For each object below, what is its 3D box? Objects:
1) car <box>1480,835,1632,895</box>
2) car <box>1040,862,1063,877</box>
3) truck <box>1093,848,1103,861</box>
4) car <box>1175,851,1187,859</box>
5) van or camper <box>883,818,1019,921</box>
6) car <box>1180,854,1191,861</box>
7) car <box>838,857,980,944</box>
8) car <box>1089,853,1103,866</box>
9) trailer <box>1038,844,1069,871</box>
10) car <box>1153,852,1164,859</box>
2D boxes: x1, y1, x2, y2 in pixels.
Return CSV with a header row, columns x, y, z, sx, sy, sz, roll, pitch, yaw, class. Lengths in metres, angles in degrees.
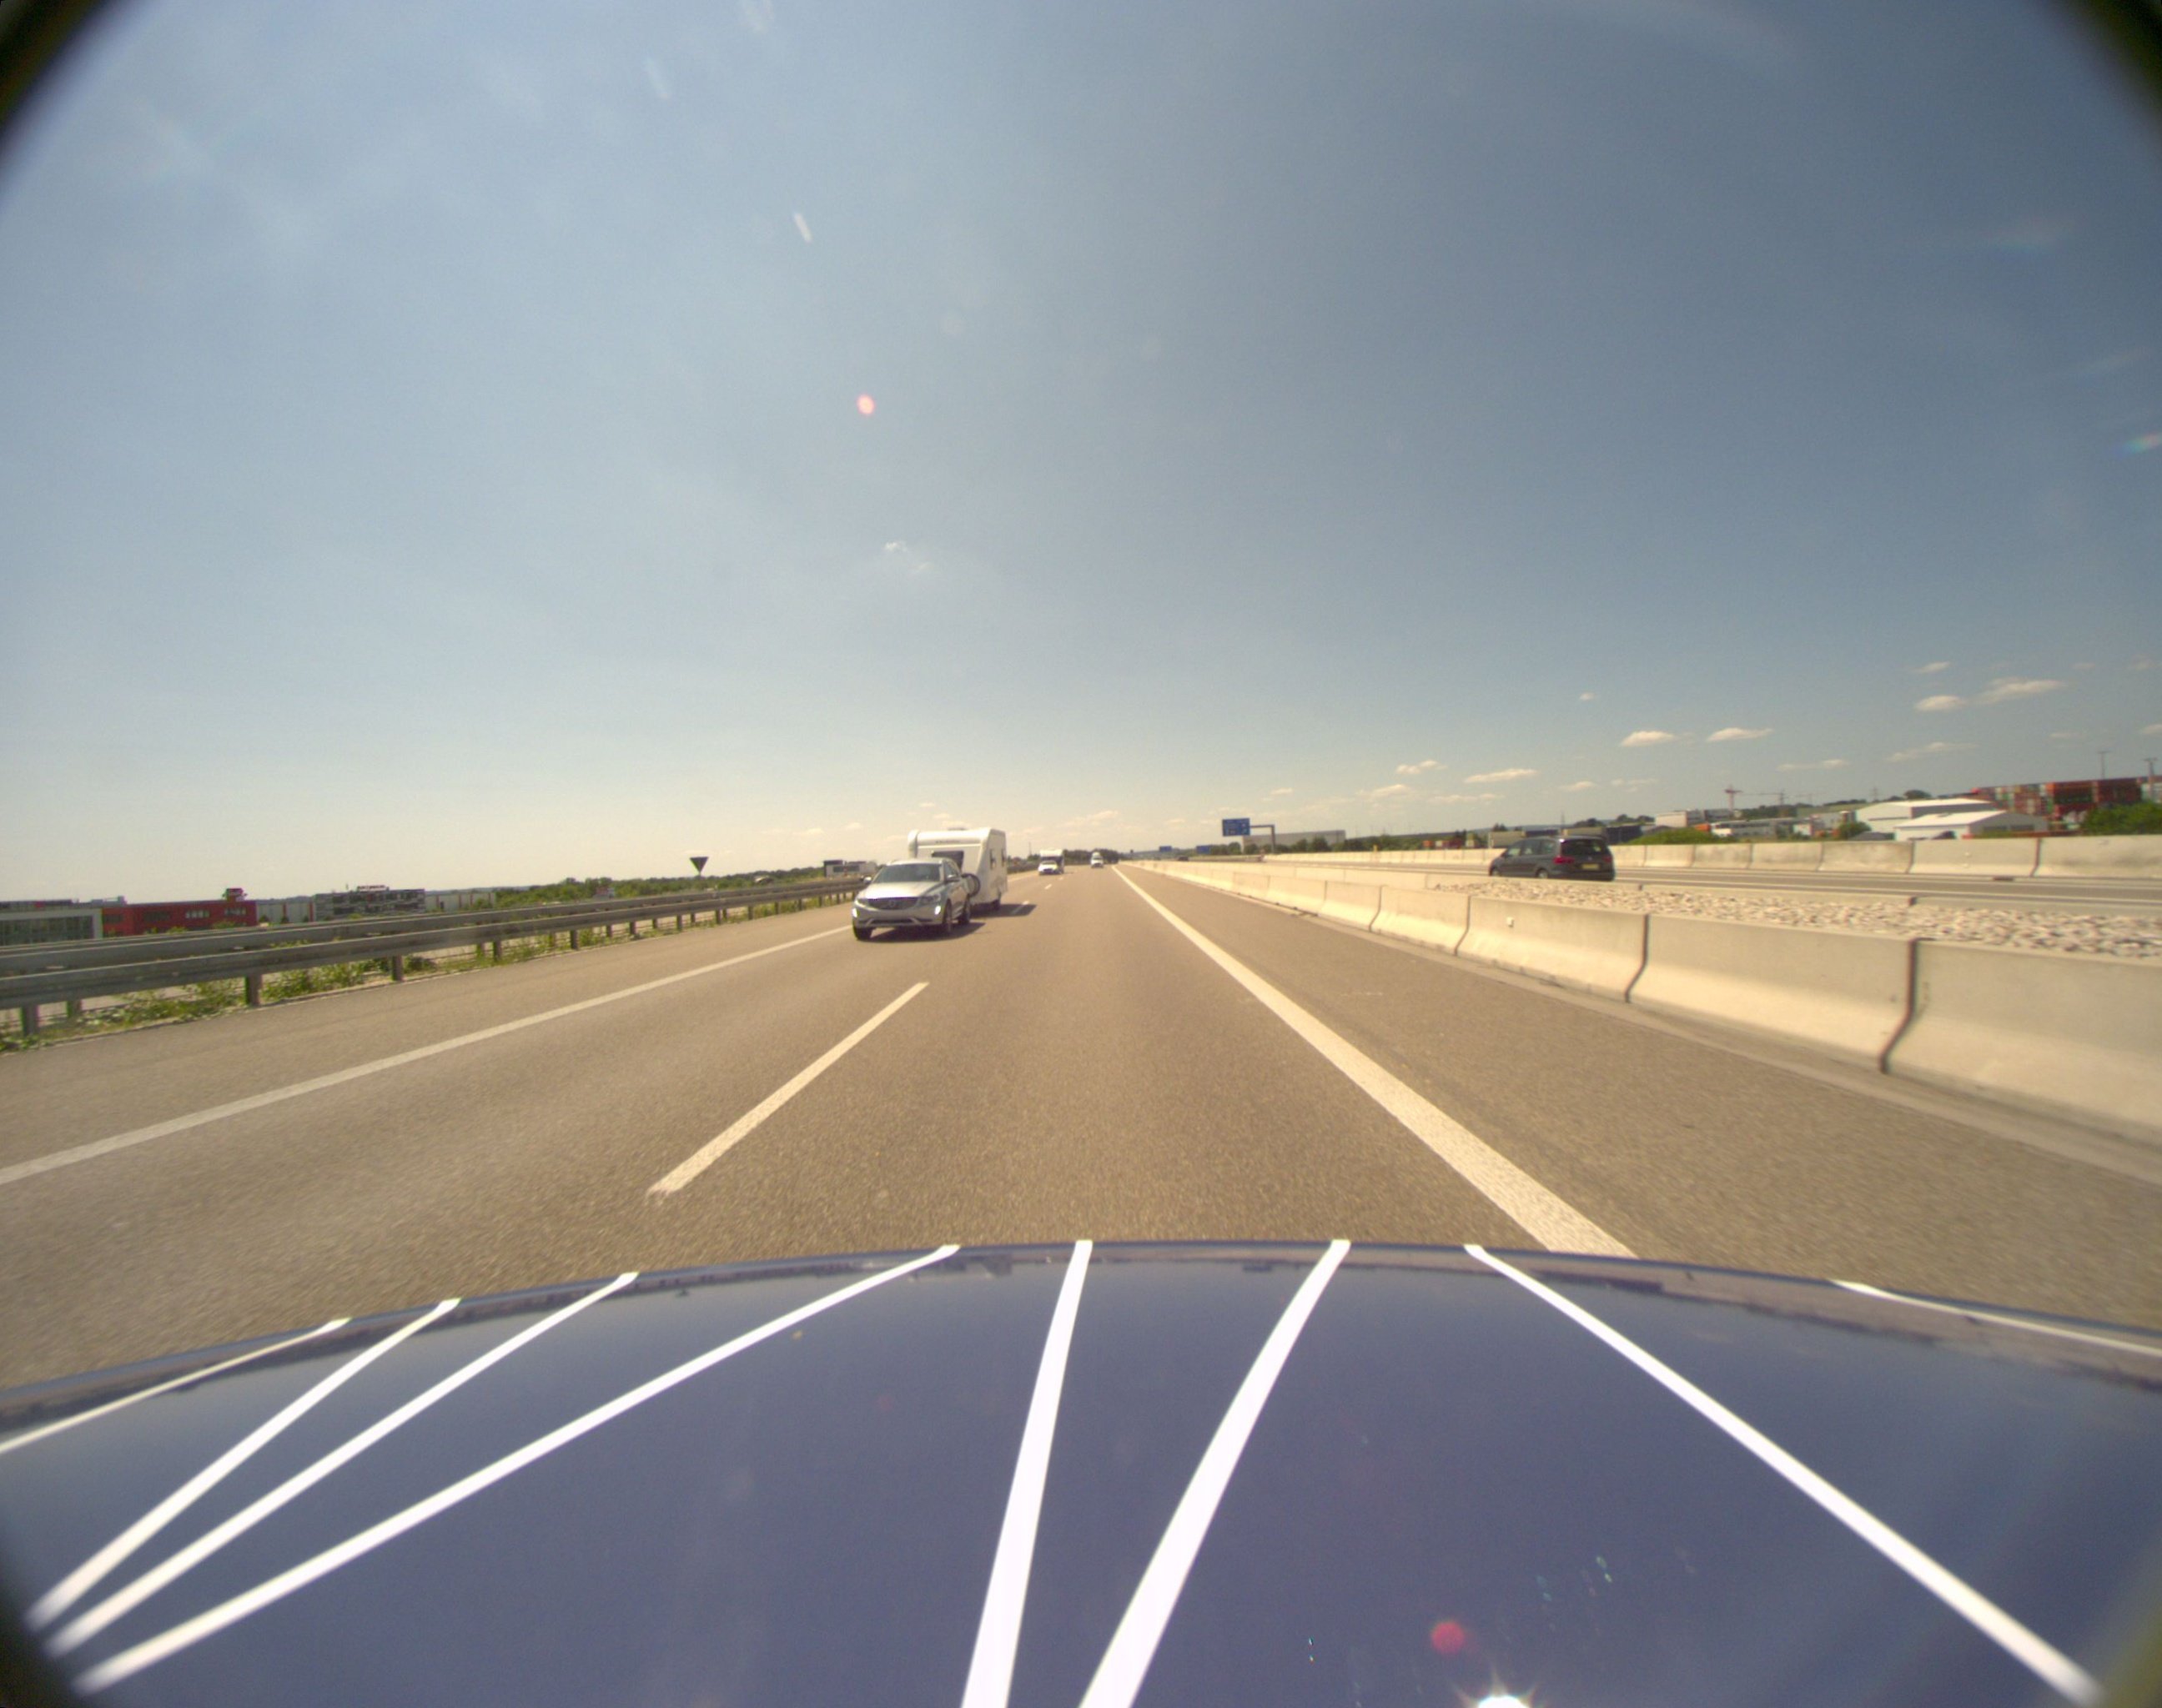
x,y,z,sx,sy,sz,roll,pitch,yaw,class
15.098,0.326,24.564,1.889,1.676,5.016,-2,0,2,car
-2.907,1.522,75.253,1.872,1.351,3.674,-1,-1,3,car
3.766,0.131,170.137,2.168,2.797,6.491,-2,0,2,truck
19.370,0.251,147.223,1.917,1.412,4.908,-2,0,2,car
-3.650,0.444,23.336,2.518,2.577,7.819,-2,-1,2,van or camper
23.625,0.826,172.364,1.915,1.411,4.551,-2,0,2,car
-3.630,0.923,17.061,1.885,1.613,4.905,-2,0,2,car
2.334,0.828,117.180,1.998,2.002,4.000,-2,0,2,car
-2.877,0.422,80.653,2.500,2.686,7.157,-2,-1,4,trailer
15.779,0.352,155.605,1.847,1.412,4.525,-2,0,2,car
